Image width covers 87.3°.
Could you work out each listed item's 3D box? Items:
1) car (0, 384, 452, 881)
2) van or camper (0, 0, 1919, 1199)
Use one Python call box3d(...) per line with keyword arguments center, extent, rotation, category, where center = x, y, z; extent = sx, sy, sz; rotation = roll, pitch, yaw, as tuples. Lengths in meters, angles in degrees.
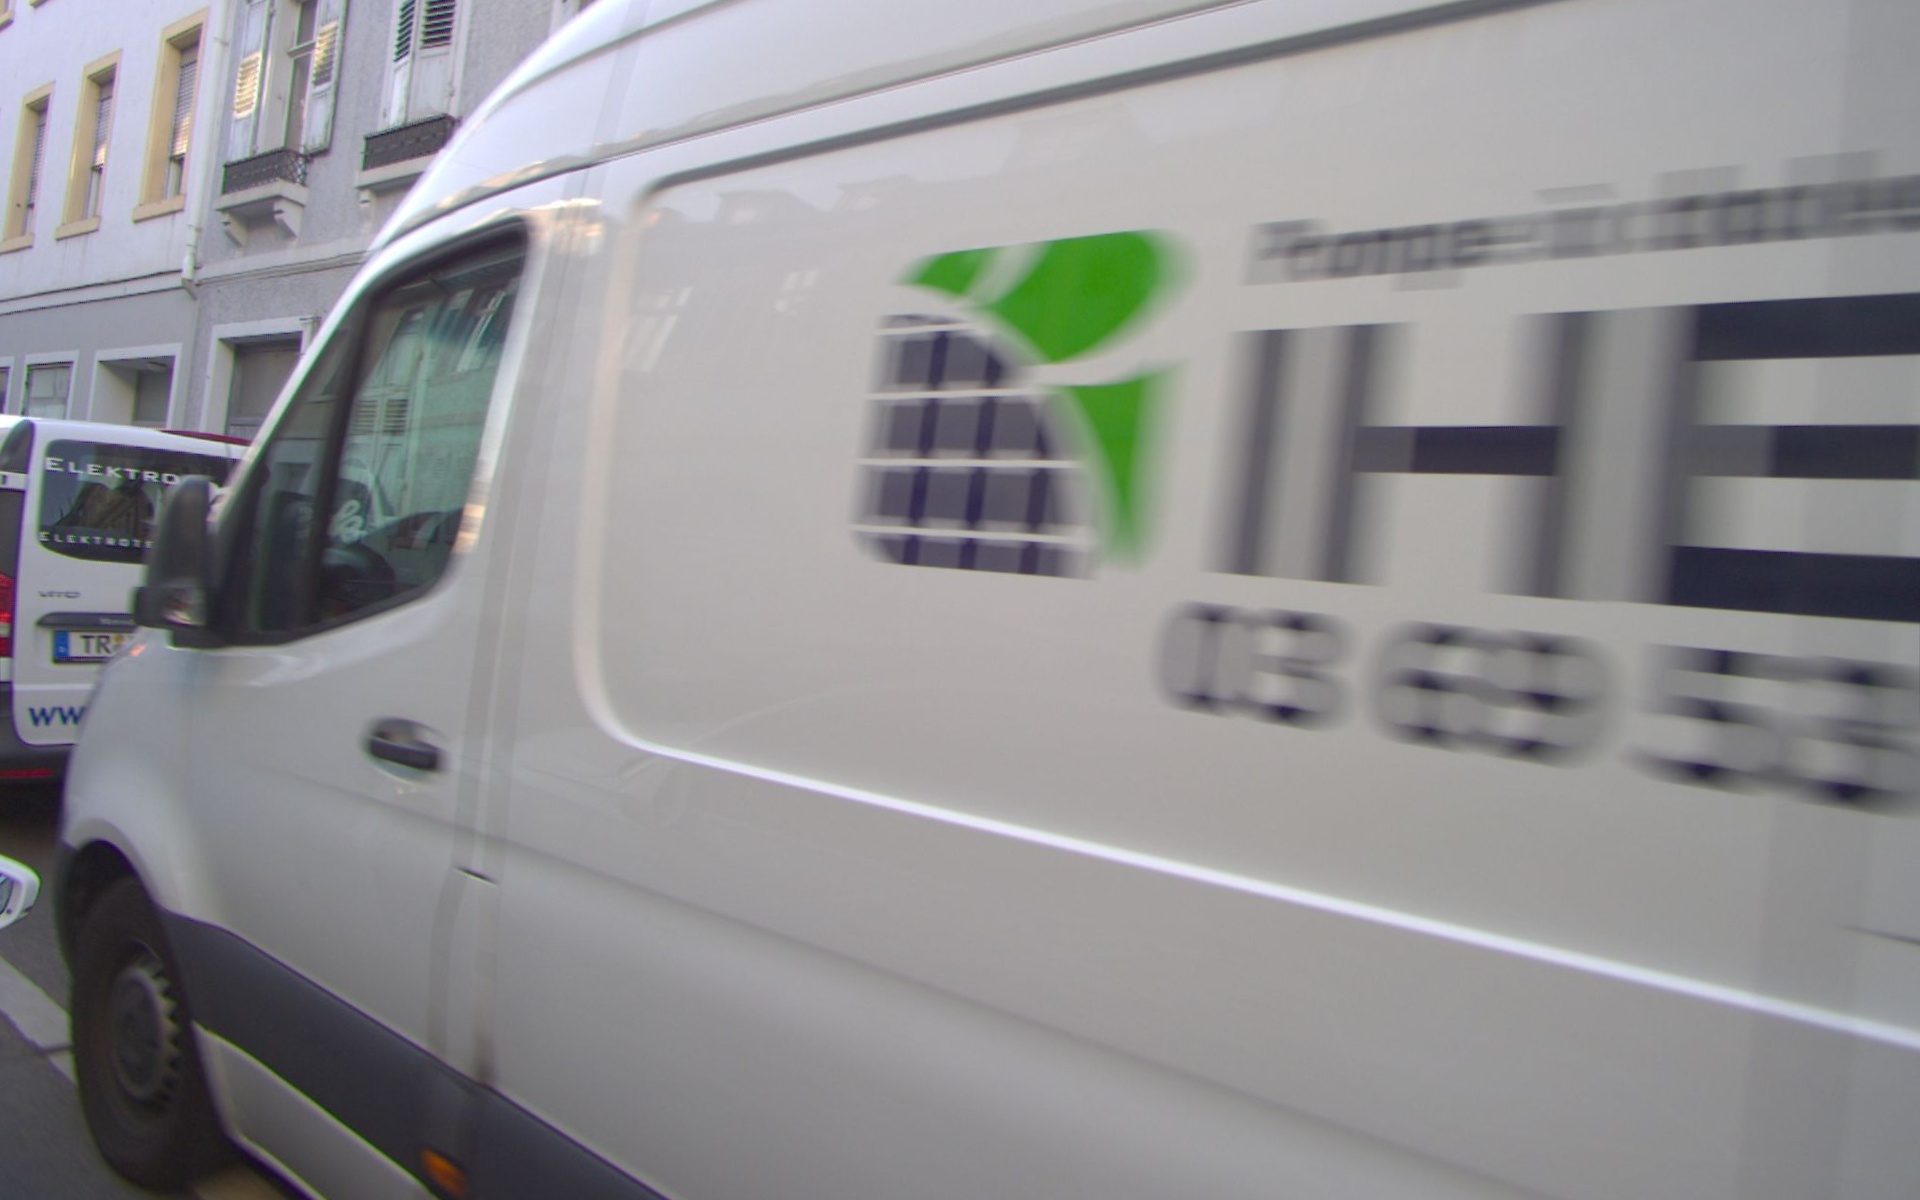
box3d(center=(-5.486, -0.071, 5.927), extent=(5.229, 1.920, 1.941), rotation=(6, 2, 32), category="car")
box3d(center=(0.834, 0.334, 1.498), extent=(6.947, 2.669, 2.053), rotation=(7, -1, 33), category="van or camper")
